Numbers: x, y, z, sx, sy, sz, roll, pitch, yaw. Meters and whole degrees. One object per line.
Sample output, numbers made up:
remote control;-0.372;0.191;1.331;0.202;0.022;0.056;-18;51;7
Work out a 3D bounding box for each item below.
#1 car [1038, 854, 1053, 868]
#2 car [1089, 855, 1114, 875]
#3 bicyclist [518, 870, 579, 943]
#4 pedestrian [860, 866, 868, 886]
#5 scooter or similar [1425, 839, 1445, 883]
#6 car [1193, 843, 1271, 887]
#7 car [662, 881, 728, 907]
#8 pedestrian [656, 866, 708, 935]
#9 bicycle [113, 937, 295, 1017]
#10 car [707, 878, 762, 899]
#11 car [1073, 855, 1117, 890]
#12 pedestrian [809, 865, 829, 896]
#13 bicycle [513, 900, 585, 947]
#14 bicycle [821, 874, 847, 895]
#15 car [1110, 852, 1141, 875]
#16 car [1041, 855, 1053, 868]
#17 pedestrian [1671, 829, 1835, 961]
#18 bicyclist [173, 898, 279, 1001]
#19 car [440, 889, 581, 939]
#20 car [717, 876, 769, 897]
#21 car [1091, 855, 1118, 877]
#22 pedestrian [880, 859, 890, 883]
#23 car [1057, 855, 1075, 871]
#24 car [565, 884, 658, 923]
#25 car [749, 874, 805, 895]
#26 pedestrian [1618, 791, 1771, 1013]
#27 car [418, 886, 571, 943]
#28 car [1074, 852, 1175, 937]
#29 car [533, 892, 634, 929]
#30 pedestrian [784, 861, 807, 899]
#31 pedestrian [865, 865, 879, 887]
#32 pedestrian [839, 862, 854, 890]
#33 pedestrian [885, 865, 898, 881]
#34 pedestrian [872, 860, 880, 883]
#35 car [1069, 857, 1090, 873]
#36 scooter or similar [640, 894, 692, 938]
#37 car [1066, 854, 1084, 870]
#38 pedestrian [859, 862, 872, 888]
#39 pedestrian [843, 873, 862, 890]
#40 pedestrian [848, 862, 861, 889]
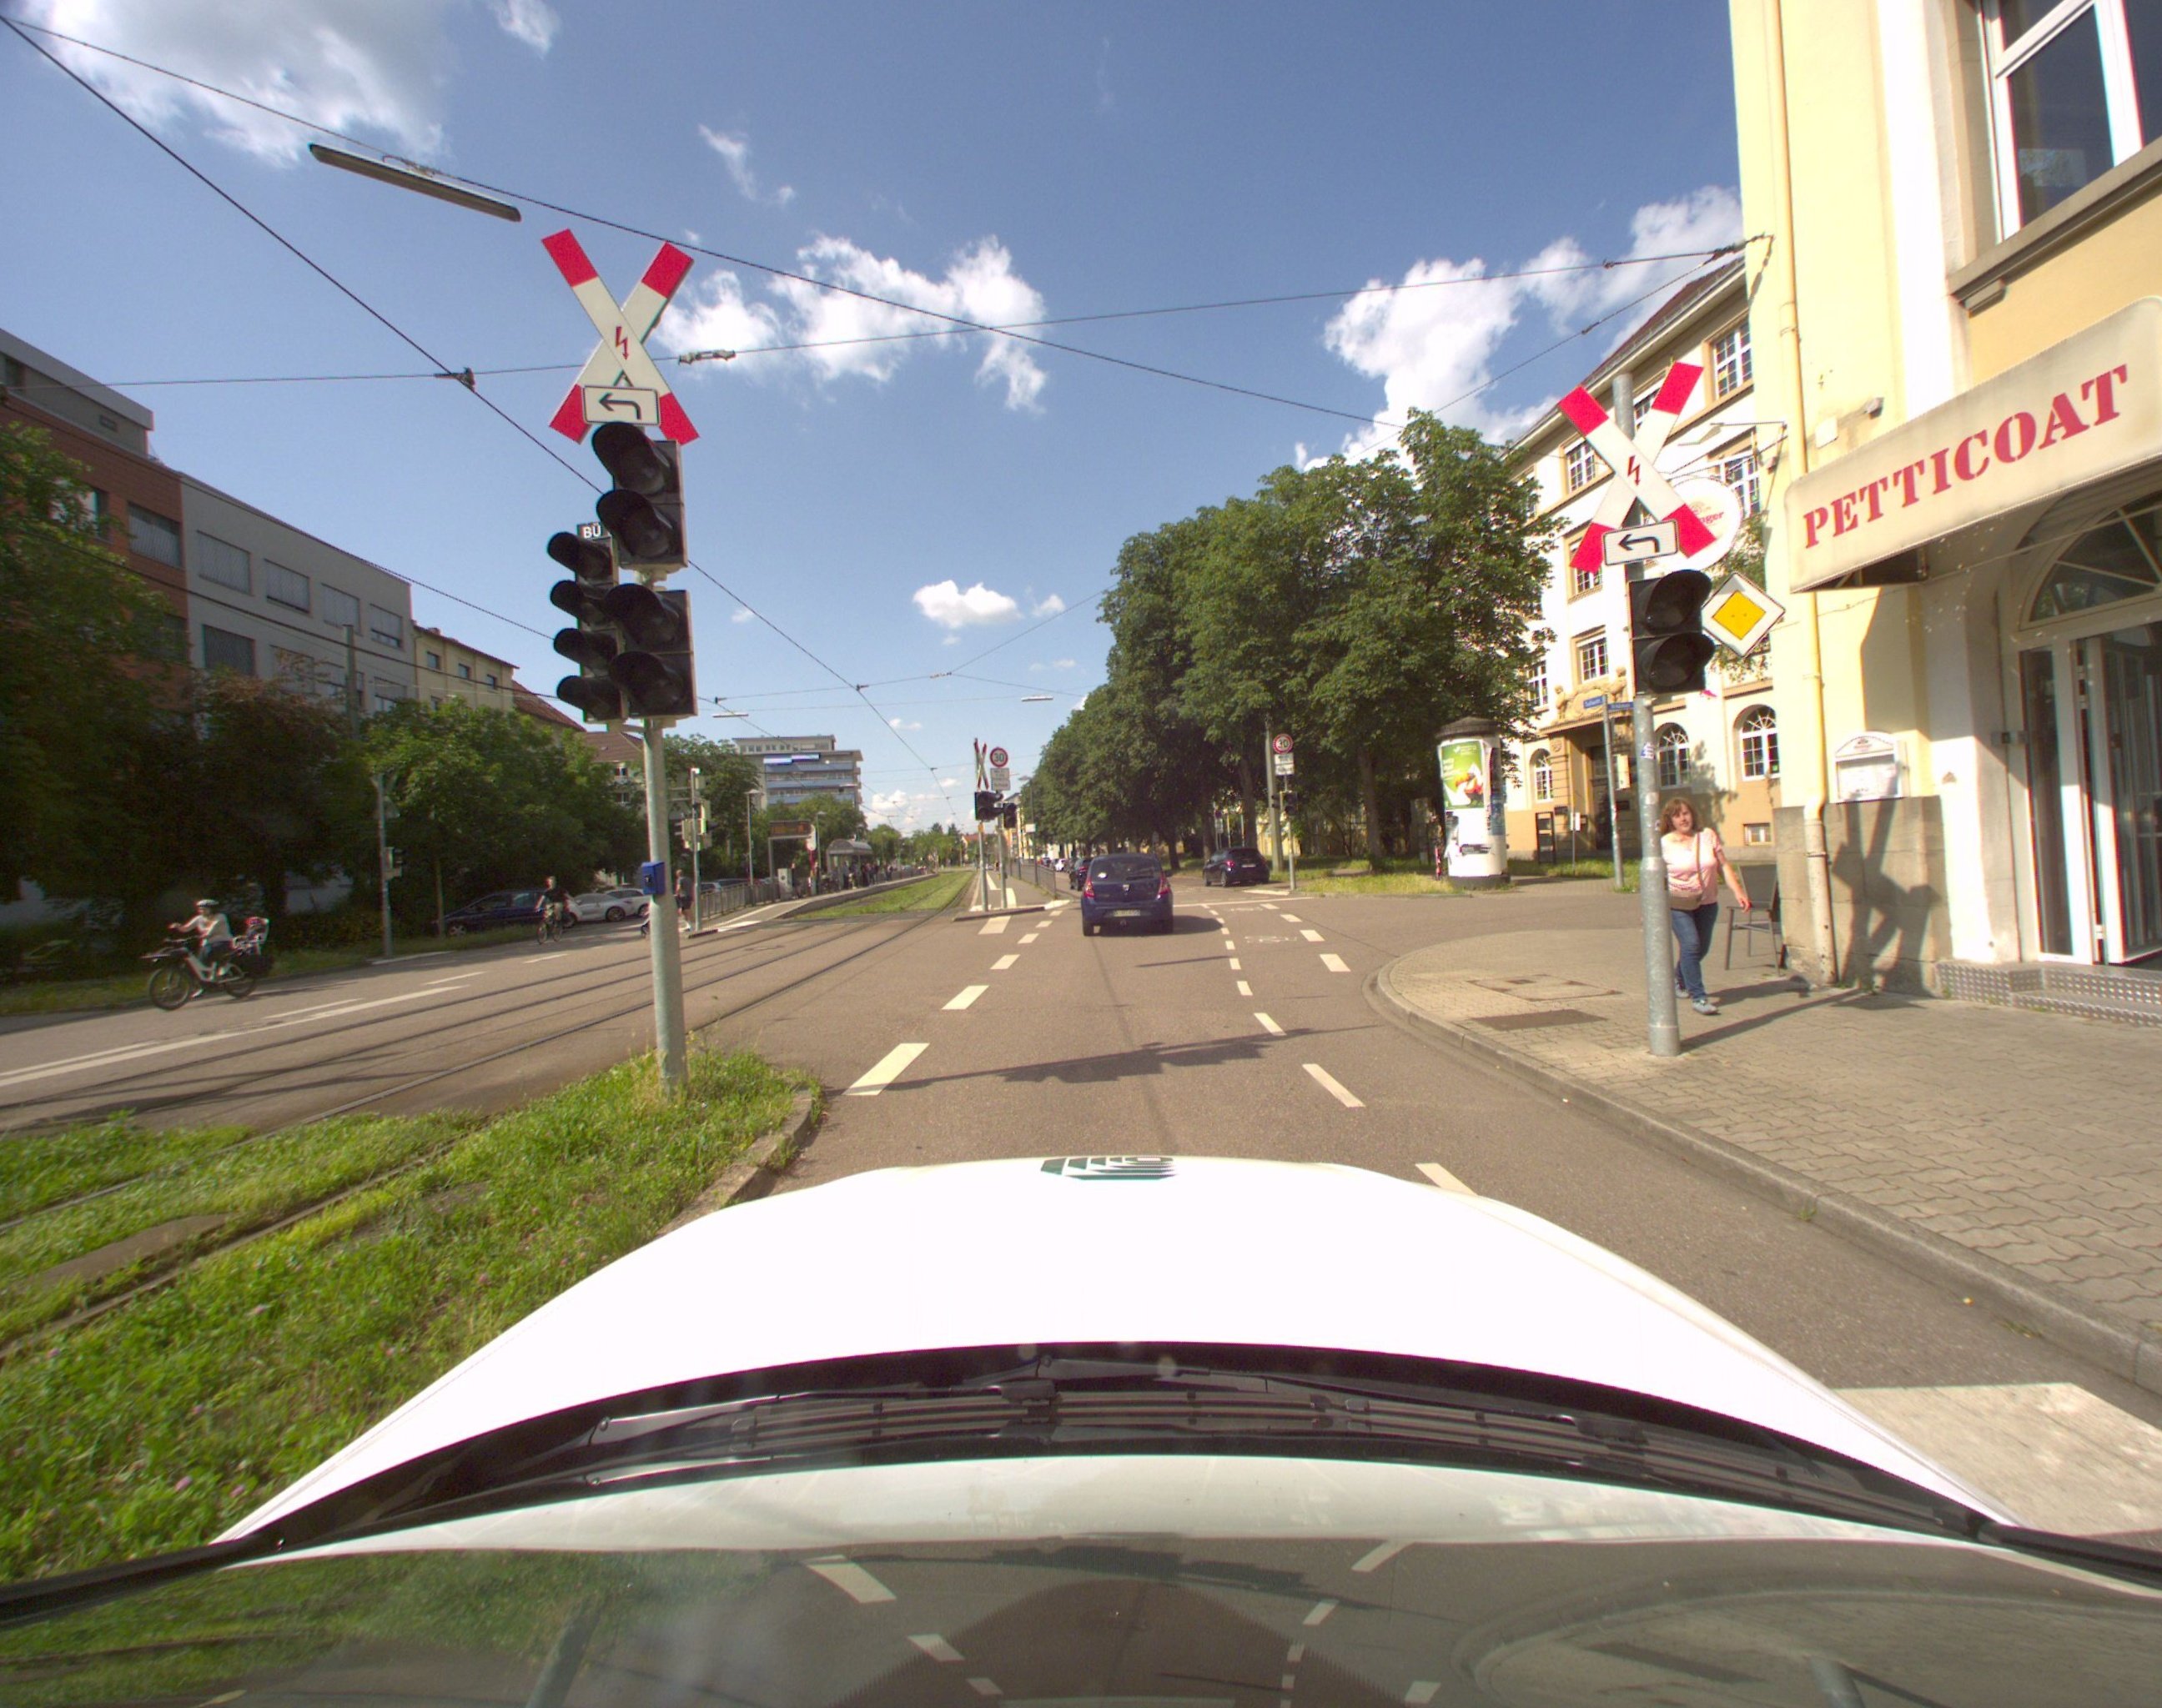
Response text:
car;-4.946;1.009;113.229;1.825;1.761;3.998;-4;0;-1
car;1.660;0.902;68.185;1.846;1.515;3.998;-4;0;-1
bicyclist;-15.828;1.529;24.273;0.949;2.013;1.569;-4;0;-14
pedestrian;-16.540;1.696;62.171;0.489;1.452;0.461;-4;0;-16
scooter or similar;9.840;0.176;22.669;0.303;1.189;1.167;-4;0;16
car;5.676;0.402;31.105;1.764;1.433;3.894;-4;0;-7
car;-23.457;2.415;49.601;1.437;1.309;3.268;-4;0;35
pedestrian;-10.989;1.260;22.490;0.870;1.775;1.001;-5;0;-8
bicycle;-14.532;1.998;13.604;0.679;0.971;2.176;-4;0;-3
car;-24.867;2.465;58.534;1.437;1.309;3.268;-4;0;38
car;0.573;0.776;35.760;1.696;1.368;3.512;-2;1;-2
pedestrian;-14.128;1.419;43.923;0.661;1.569;0.686;-5;0;1
bicycle;-15.807;2.047;24.260;1.155;1.177;1.779;-5;-1;-13
bicycle;-13.291;1.642;43.860;0.683;0.974;1.773;-6;0;4
car;3.250;0.685;60.334;1.856;1.445;3.998;-5;0;-1
car;-5.003;1.027;119.344;1.663;1.772;3.996;-4;0;-2
pedestrian;7.072;0.419;8.655;0.533;1.268;1.302;-3;-2;-4
bicyclist;-14.444;1.581;13.788;0.783;1.582;0.862;-4;0;-3
car;-22.028;2.265;31.563;1.704;1.499;4.158;-4;0;44
car;-25.535;2.455;61.562;1.437;1.309;3.268;-4;0;38
car;1.795;0.917;63.552;1.856;1.445;3.998;-5;0;-1
pedestrian;-16.975;1.484;70.608;0.661;2.013;0.800;-3;0;-11
car;-1.749;1.027;94.197;1.615;1.750;3.992;-4;0;-6
car;-21.989;2.288;38.200;3.409;1.505;1.525;-3;0;-44
car;-25.538;2.554;68.488;1.694;1.367;4.025;-5;0;42
pedestrian;4.866;0.368;6.521;0.666;1.648;0.767;-4;-1;18
car;-21.074;2.130;29.375;1.704;1.640;4.158;-4;0;44
car;0.857;0.724;16.428;1.761;1.462;3.778;-2;0;2
car;-21.485;2.409;35.225;1.525;1.236;3.409;-4;0;44
pedestrian;-13.608;1.240;38.836;0.705;1.726;0.672;-4;0;35
pedestrian;-14.418;1.506;56.146;0.648;1.426;0.566;-4;0;30
pedestrian;-14.491;1.346;50.384;0.654;1.692;0.655;-4;0;-6
pedestrian;-17.581;1.768;75.595;1.033;1.437;0.698;-5;0;-21
pedestrian;-15.659;1.342;62.274;0.489;1.712;0.461;-4;0;-16
car;-0.172;1.049;80.667;1.856;1.445;3.998;-5;0;-1
scooter or similar;-11.315;1.678;22.210;0.953;1.064;0.795;-5;0;-7
car;-0.646;0.851;86.108;1.823;1.537;3.998;-4;0;-1
pedestrian;-14.729;1.431;55.631;0.602;1.766;0.639;-4;0;3
pedestrian;-14.547;1.757;51.909;0.923;0.989;0.796;-5;-1;-4
pedestrian;-15.169;1.446;54.500;0.592;1.736;0.556;-4;0;-2
